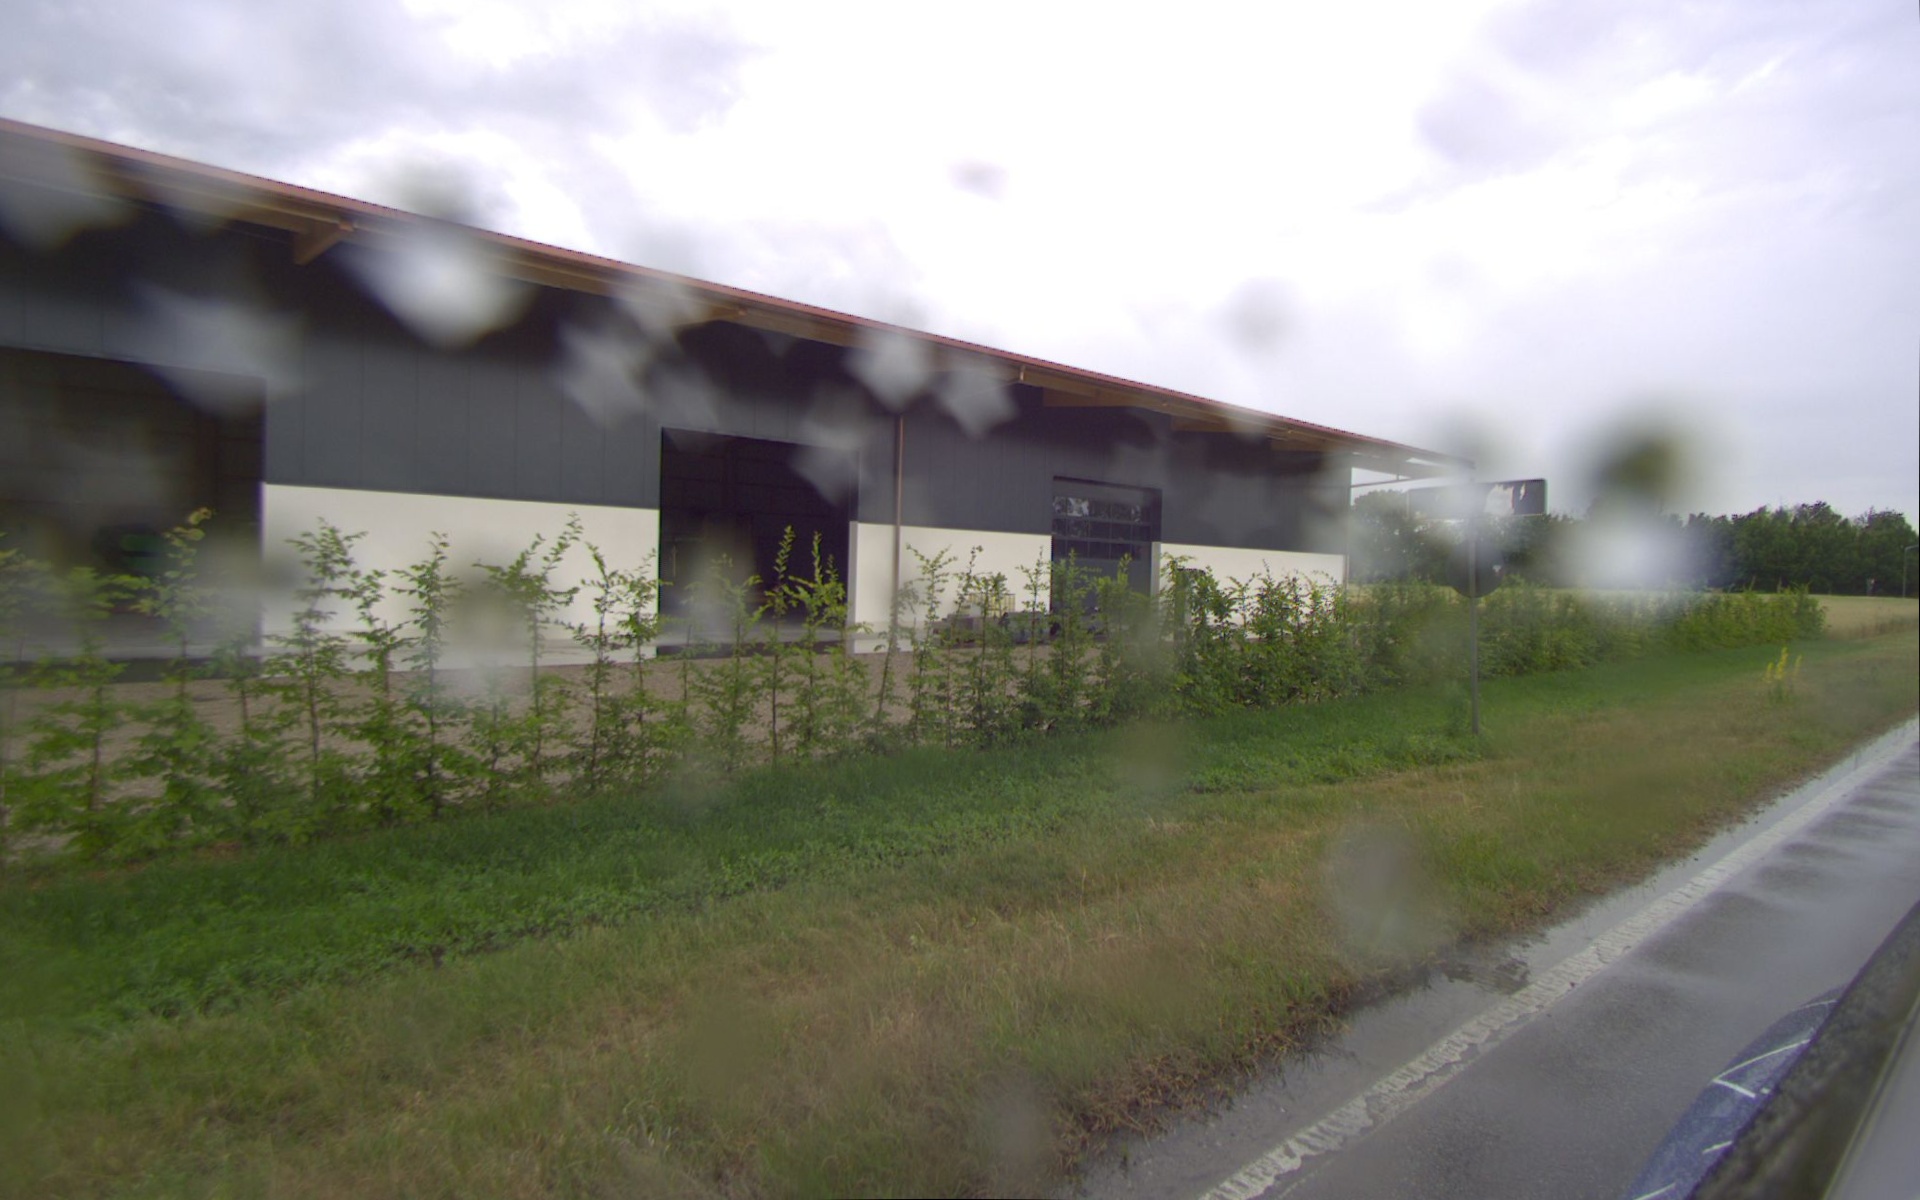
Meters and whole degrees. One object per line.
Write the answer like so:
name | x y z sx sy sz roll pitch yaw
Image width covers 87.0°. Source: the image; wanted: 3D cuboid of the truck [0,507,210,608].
truck | -24.612 -1.157 28.024 6.047 2.639 2.122 0 2 -40
